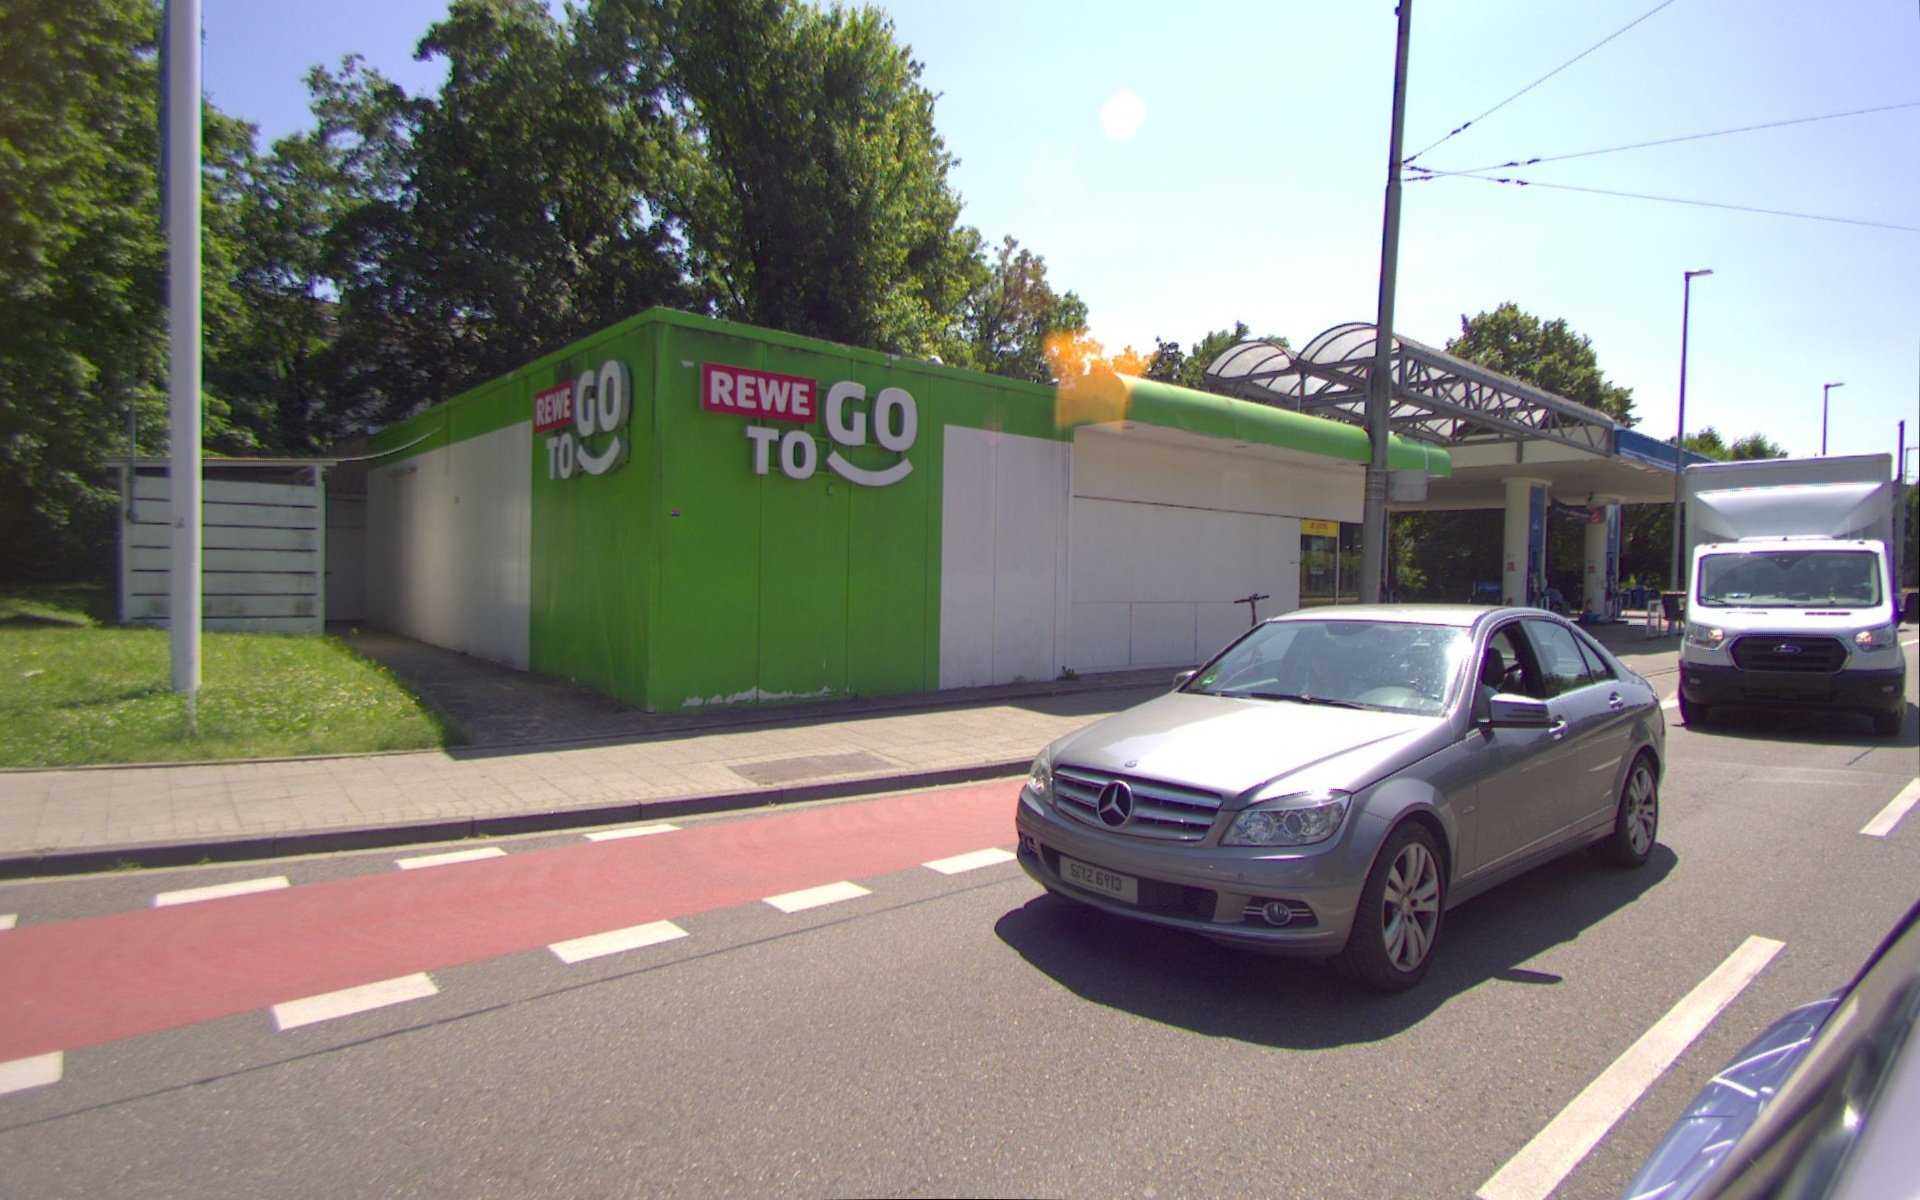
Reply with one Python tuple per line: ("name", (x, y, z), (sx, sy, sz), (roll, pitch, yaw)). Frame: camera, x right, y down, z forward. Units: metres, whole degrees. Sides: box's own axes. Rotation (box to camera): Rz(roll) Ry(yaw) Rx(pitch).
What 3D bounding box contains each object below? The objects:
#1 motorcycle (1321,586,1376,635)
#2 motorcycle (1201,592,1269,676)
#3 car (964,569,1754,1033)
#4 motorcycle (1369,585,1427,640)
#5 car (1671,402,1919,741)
("motorcycle", (9.602, 0.245, 25.052), (0.389, 1.127, 1.156), (2, 2, -42))
("motorcycle", (3.869, 0.465, 14.227), (1.098, 1.118, 0.253), (-1, 8, -41))
("car", (2.572, 0.651, 5.573), (5.206, 1.492, 1.716), (0, 0, -39))
("motorcycle", (10.427, 0.288, 24.120), (0.357, 1.225, 1.156), (2, 2, -42))
("car", (11.522, -0.331, 13.970), (2.220, 3.377, 8.514), (-1, 0, 39))
